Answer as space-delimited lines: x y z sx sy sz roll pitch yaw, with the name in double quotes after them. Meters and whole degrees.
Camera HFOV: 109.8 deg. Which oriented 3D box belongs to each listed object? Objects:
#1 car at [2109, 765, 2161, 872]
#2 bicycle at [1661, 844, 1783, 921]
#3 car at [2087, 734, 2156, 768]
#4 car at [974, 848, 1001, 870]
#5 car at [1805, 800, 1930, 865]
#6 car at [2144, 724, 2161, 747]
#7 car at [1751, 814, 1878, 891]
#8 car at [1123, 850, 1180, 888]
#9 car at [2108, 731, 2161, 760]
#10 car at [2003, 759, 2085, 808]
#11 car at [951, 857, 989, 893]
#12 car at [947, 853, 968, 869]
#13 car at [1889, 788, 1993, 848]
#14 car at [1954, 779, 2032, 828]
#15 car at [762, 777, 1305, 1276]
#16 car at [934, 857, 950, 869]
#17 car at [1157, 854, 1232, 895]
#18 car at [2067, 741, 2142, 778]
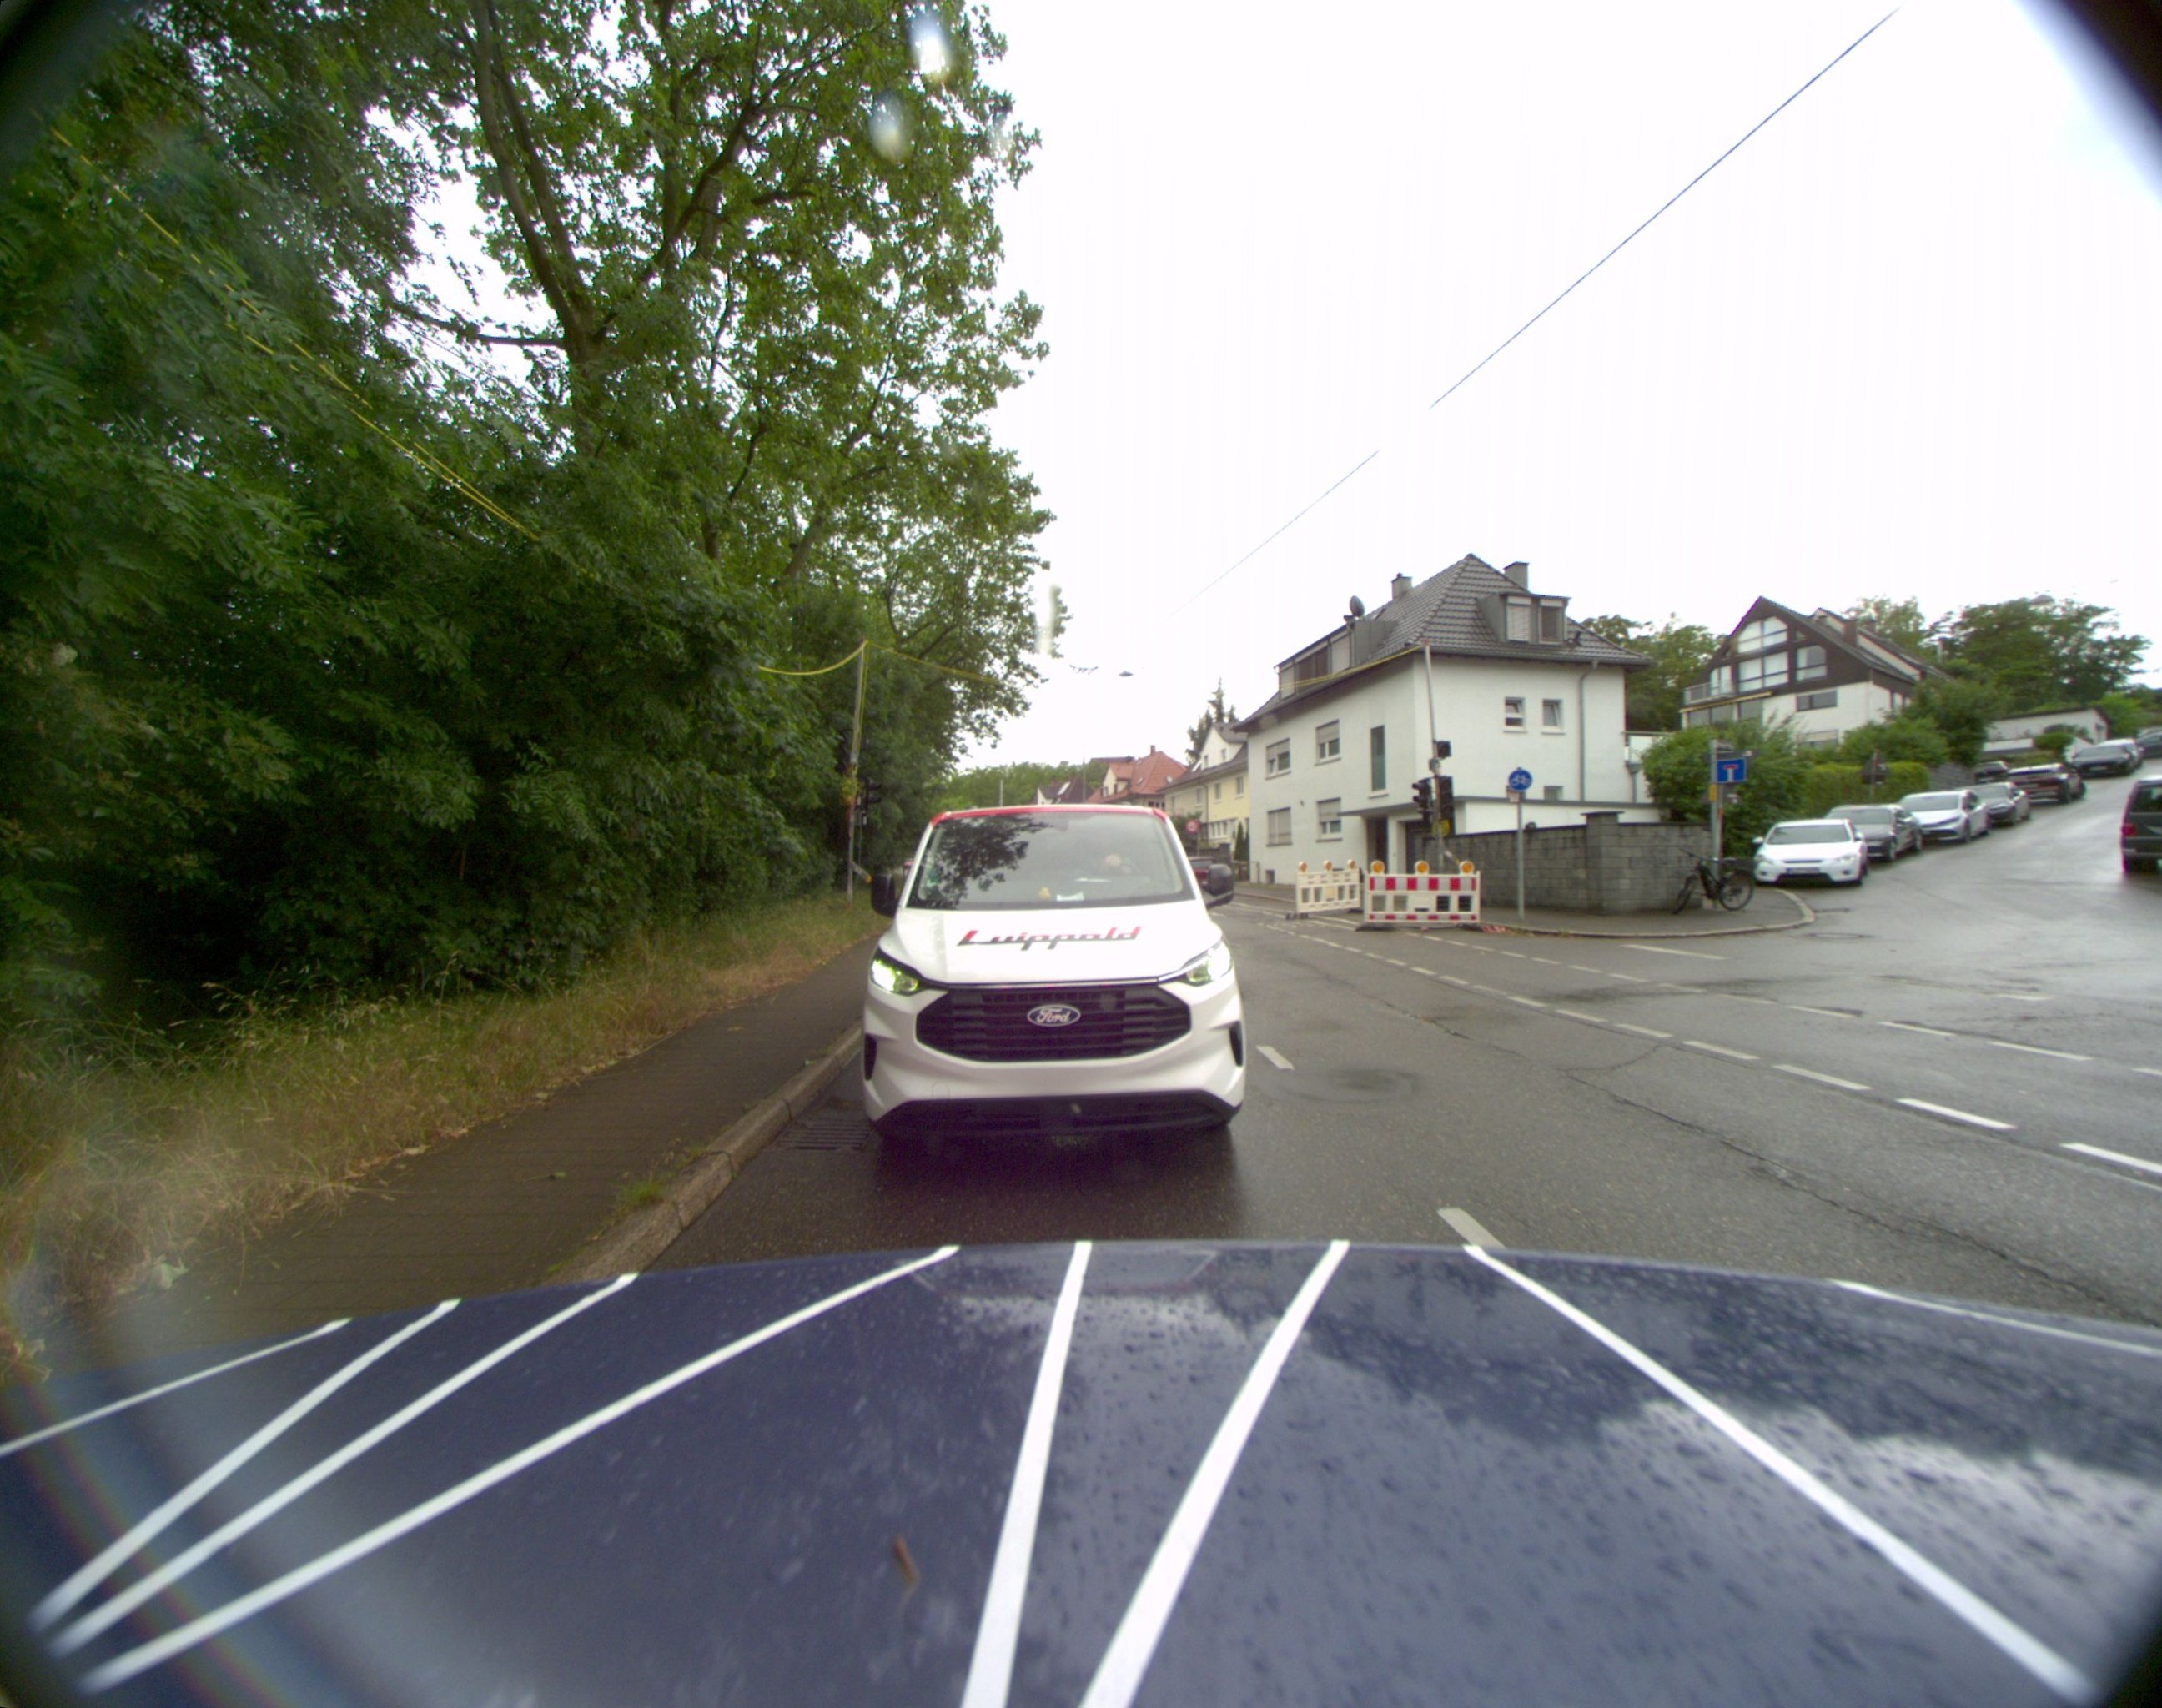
23.583 -0.856 16.020 3.801 1.926 1.911 -9 3 -31 "car"
11.721 0.509 13.911 1.732 1.304 0.707 -2 1 -7 "bicycle"
60.815 -6.031 44.402 3.834 1.492 1.733 -9 3 -26 "car"
-9.405 0.501 76.038 2.001 2.002 3.994 -2 1 -17 "car"
22.411 -0.633 21.622 3.859 1.458 1.700 -7 2 -32 "car"
81.260 -8.938 55.745 1.624 1.492 3.514 -9 3 -24 "car"
17.623 -0.057 18.207 3.566 1.458 1.746 -7 2 -40 "car"
3.189 0.703 34.910 1.670 1.579 4.004 -3 -2 -8 "car"
68.142 -6.960 48.085 1.582 1.492 3.607 -10 4 -34 "car"
40.569 -2.975 32.002 3.988 1.547 1.333 -9 3 -26 "car"
-5.429 1.037 37.323 1.670 1.579 4.004 -3 -2 -8 "car"
-15.328 0.869 94.043 2.001 1.850 4.354 -2 1 -17 "car"
27.253 -1.163 24.049 3.859 1.458 1.579 -8 4 -32 "car"
32.280 -1.798 26.877 3.508 1.383 1.333 -8 4 -32 "car"
-0.147 0.653 5.569 2.045 1.883 5.208 -2 1 1 "car"
-18.859 1.213 102.963 1.767 1.519 3.585 -2 1 -17 "car"
4.378 0.826 29.887 1.898 1.485 3.795 -1 -2 -8 "car"
54.727 -5.057 40.616 3.834 1.492 1.733 -9 3 -26 "car"
